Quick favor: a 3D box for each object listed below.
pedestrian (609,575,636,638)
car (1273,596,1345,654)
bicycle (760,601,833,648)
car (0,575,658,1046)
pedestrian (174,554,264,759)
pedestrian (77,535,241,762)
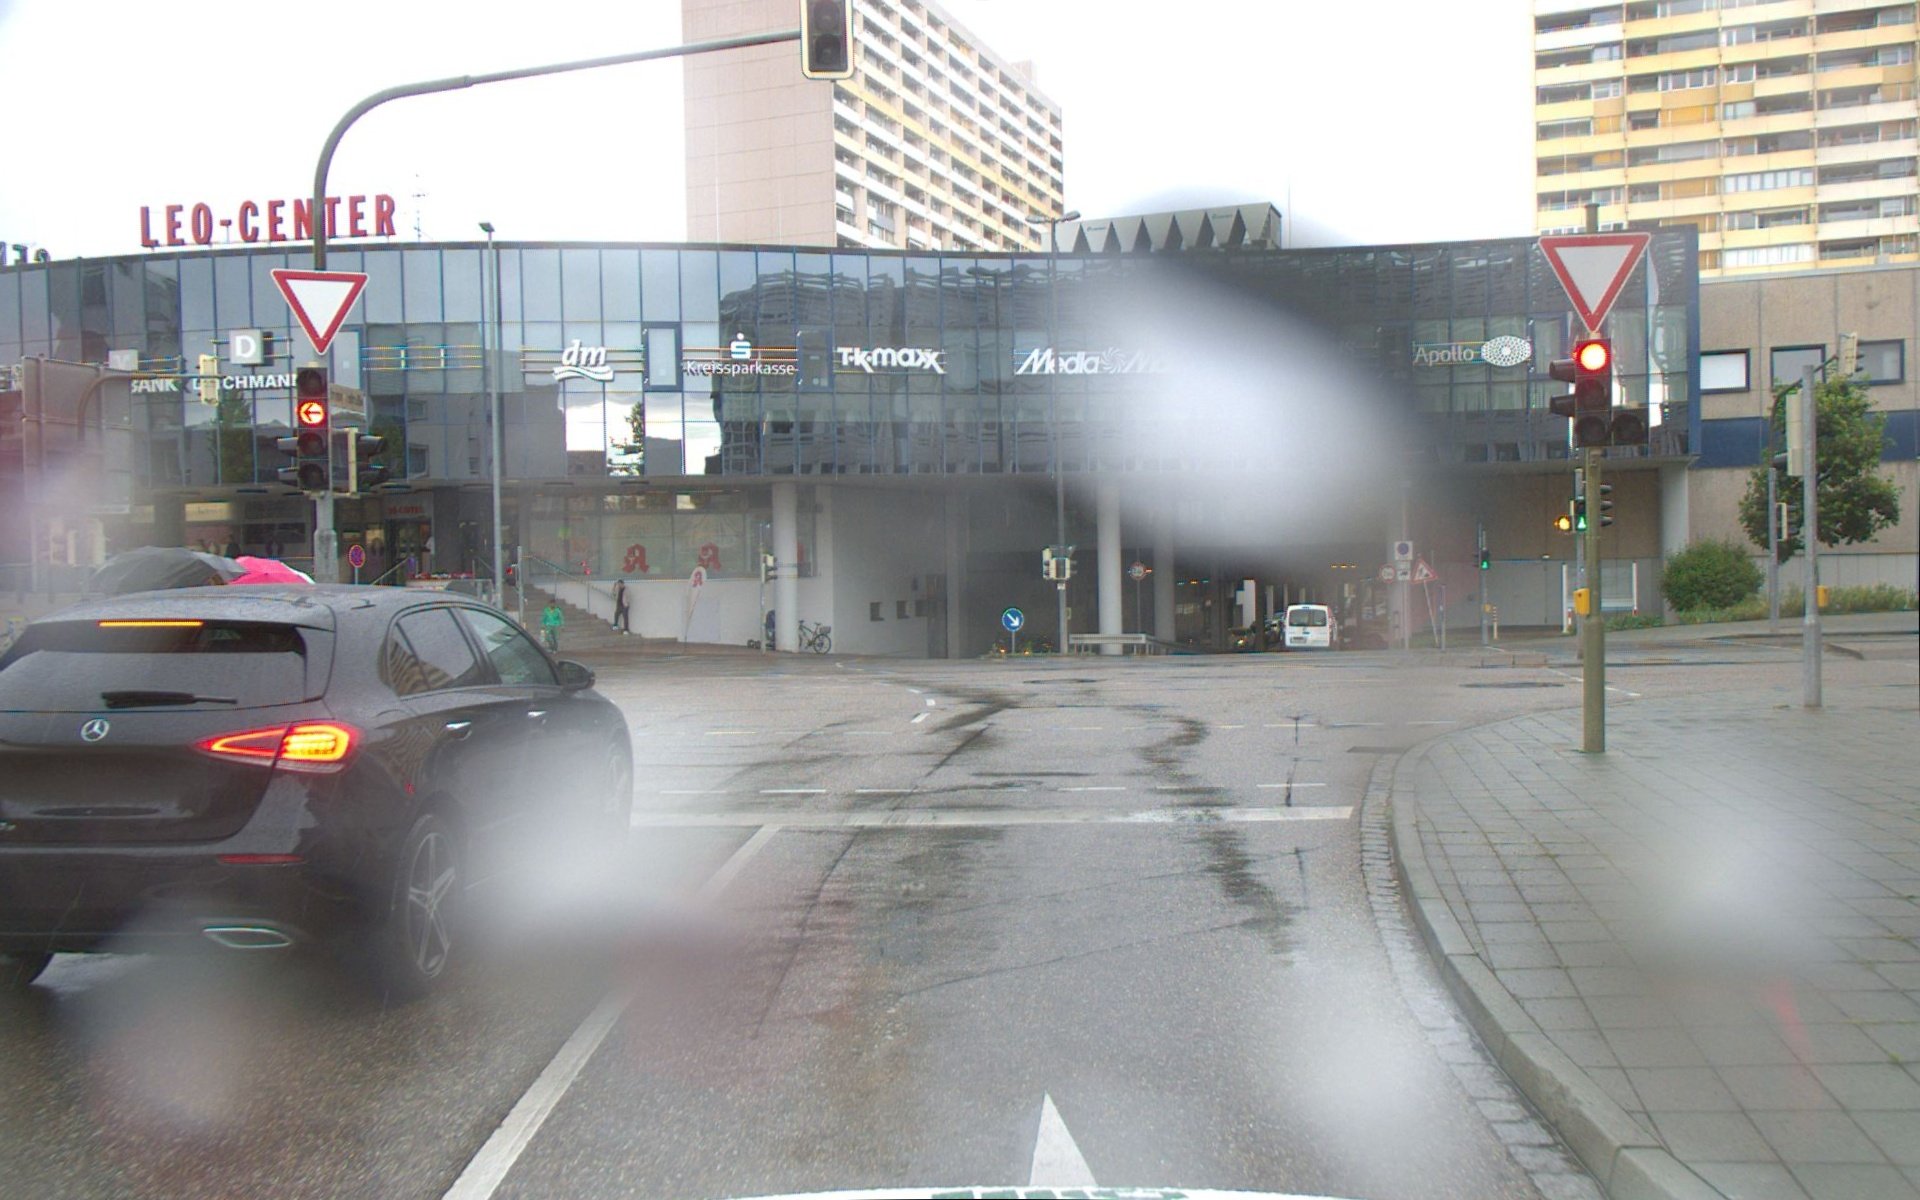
[{"bbox_3d":[-11.158,0.213,54.697,0.773,2.049,0.669,-1,0,-8],"label":"pedestrian"},{"bbox_3d":[11.536,0.785,54.549,1.951,1.747,4.003,-1,1,17],"label":"car"},{"bbox_3d":[-5.512,0.812,55.813,2.388,1.489,0.652,-1,2,-20],"label":"bicycle"},{"bbox_3d":[-2.642,0.636,7.138,1.767,1.444,4.001,-1,1,2],"label":"car"},{"bbox_3d":[-6.277,0.468,14.045,0.601,1.688,0.668,3,0,-23],"label":"pedestrian"},{"bbox_3d":[-6.287,0.368,12.988,0.743,1.688,0.905,3,0,44],"label":"pedestrian"}]
